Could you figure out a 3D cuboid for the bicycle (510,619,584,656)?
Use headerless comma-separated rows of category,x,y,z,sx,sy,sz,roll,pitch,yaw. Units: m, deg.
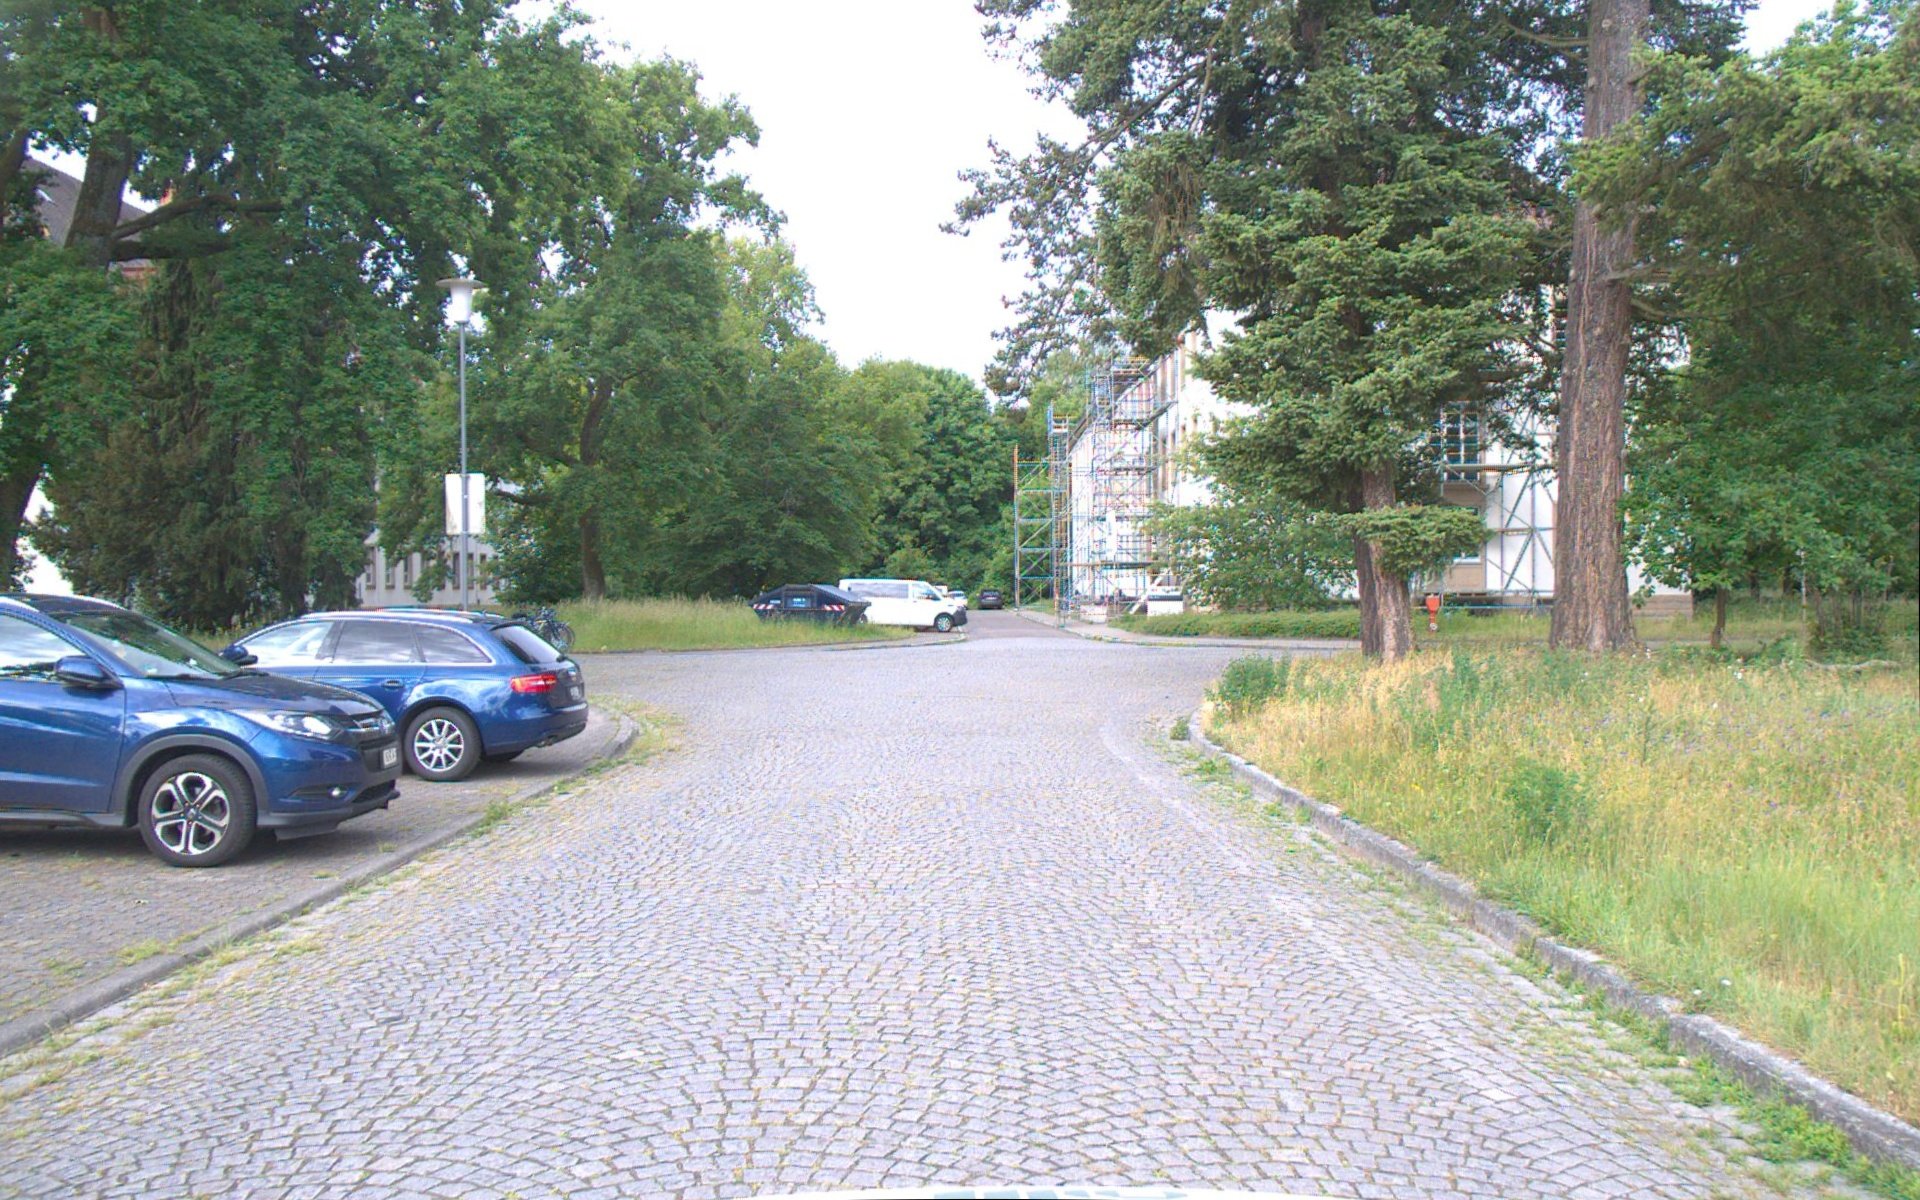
bicycle,-11.658,1.044,46.695,1.931,1.007,0.622,-1,0,-24

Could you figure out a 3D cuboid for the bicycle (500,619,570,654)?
bicycle,-12.628,1.077,49.117,1.931,1.007,0.622,-1,0,-24

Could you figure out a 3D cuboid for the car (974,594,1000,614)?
car,2.119,0.338,130.433,1.912,1.548,3.998,0,0,-2

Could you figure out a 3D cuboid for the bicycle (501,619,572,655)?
bicycle,-12.284,1.063,47.995,1.931,1.007,0.622,-1,0,-24

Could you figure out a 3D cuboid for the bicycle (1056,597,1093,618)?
bicycle,7.064,0.467,102.132,2.194,1.276,0.698,-1,0,1

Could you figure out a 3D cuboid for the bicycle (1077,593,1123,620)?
bicycle,6.902,0.326,81.422,2.194,1.276,0.778,-1,0,1

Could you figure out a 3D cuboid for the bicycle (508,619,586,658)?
bicycle,-11.039,1.017,44.230,1.931,1.007,0.622,-1,0,-24

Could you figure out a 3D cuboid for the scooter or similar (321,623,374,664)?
scooter or similar,-15.914,1.131,42.964,1.321,1.056,0.453,-1,0,21

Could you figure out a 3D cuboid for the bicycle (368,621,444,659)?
bicycle,-15.406,1.102,46.014,1.935,1.007,0.621,-1,0,-28

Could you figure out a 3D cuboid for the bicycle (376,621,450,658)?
bicycle,-15.646,1.116,47.359,1.922,1.007,0.625,-1,0,-11

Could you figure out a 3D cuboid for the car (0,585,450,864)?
car,-5.601,0.713,10.505,4.143,1.604,1.886,1,0,-2

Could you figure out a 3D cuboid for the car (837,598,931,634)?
car,-3.073,0.640,66.666,3.713,1.420,1.999,0,0,-3

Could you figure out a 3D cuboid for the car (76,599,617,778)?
car,-5.488,0.764,15.221,4.214,1.486,1.975,1,0,1

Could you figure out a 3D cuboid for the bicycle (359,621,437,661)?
bicycle,-15.063,1.085,44.310,1.931,1.007,0.622,-1,0,-23

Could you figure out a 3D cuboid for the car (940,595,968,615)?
car,-0.501,0.380,130.102,2.076,1.548,3.999,0,0,-2

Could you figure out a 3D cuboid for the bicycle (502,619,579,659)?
bicycle,-11.058,1.013,43.605,1.930,1.007,0.623,-1,0,-21

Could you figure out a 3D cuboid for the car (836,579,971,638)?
car,-2.208,0.318,64.086,5.130,2.206,1.999,0,0,-3

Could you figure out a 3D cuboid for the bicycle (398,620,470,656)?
bicycle,-15.377,1.118,48.370,1.922,1.007,0.625,-1,0,-11

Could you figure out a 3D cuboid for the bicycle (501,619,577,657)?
bicycle,-11.495,1.031,45.195,1.931,1.007,0.622,-1,0,-24

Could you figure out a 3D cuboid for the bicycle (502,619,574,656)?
bicycle,-12.103,1.057,47.415,1.931,1.007,0.622,-1,0,-24

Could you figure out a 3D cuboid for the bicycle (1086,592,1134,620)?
bicycle,6.994,0.295,77.167,2.194,1.276,0.778,-1,0,1

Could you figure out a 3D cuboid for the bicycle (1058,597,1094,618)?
bicycle,7.057,0.459,100.794,2.194,1.276,0.627,-1,0,1
